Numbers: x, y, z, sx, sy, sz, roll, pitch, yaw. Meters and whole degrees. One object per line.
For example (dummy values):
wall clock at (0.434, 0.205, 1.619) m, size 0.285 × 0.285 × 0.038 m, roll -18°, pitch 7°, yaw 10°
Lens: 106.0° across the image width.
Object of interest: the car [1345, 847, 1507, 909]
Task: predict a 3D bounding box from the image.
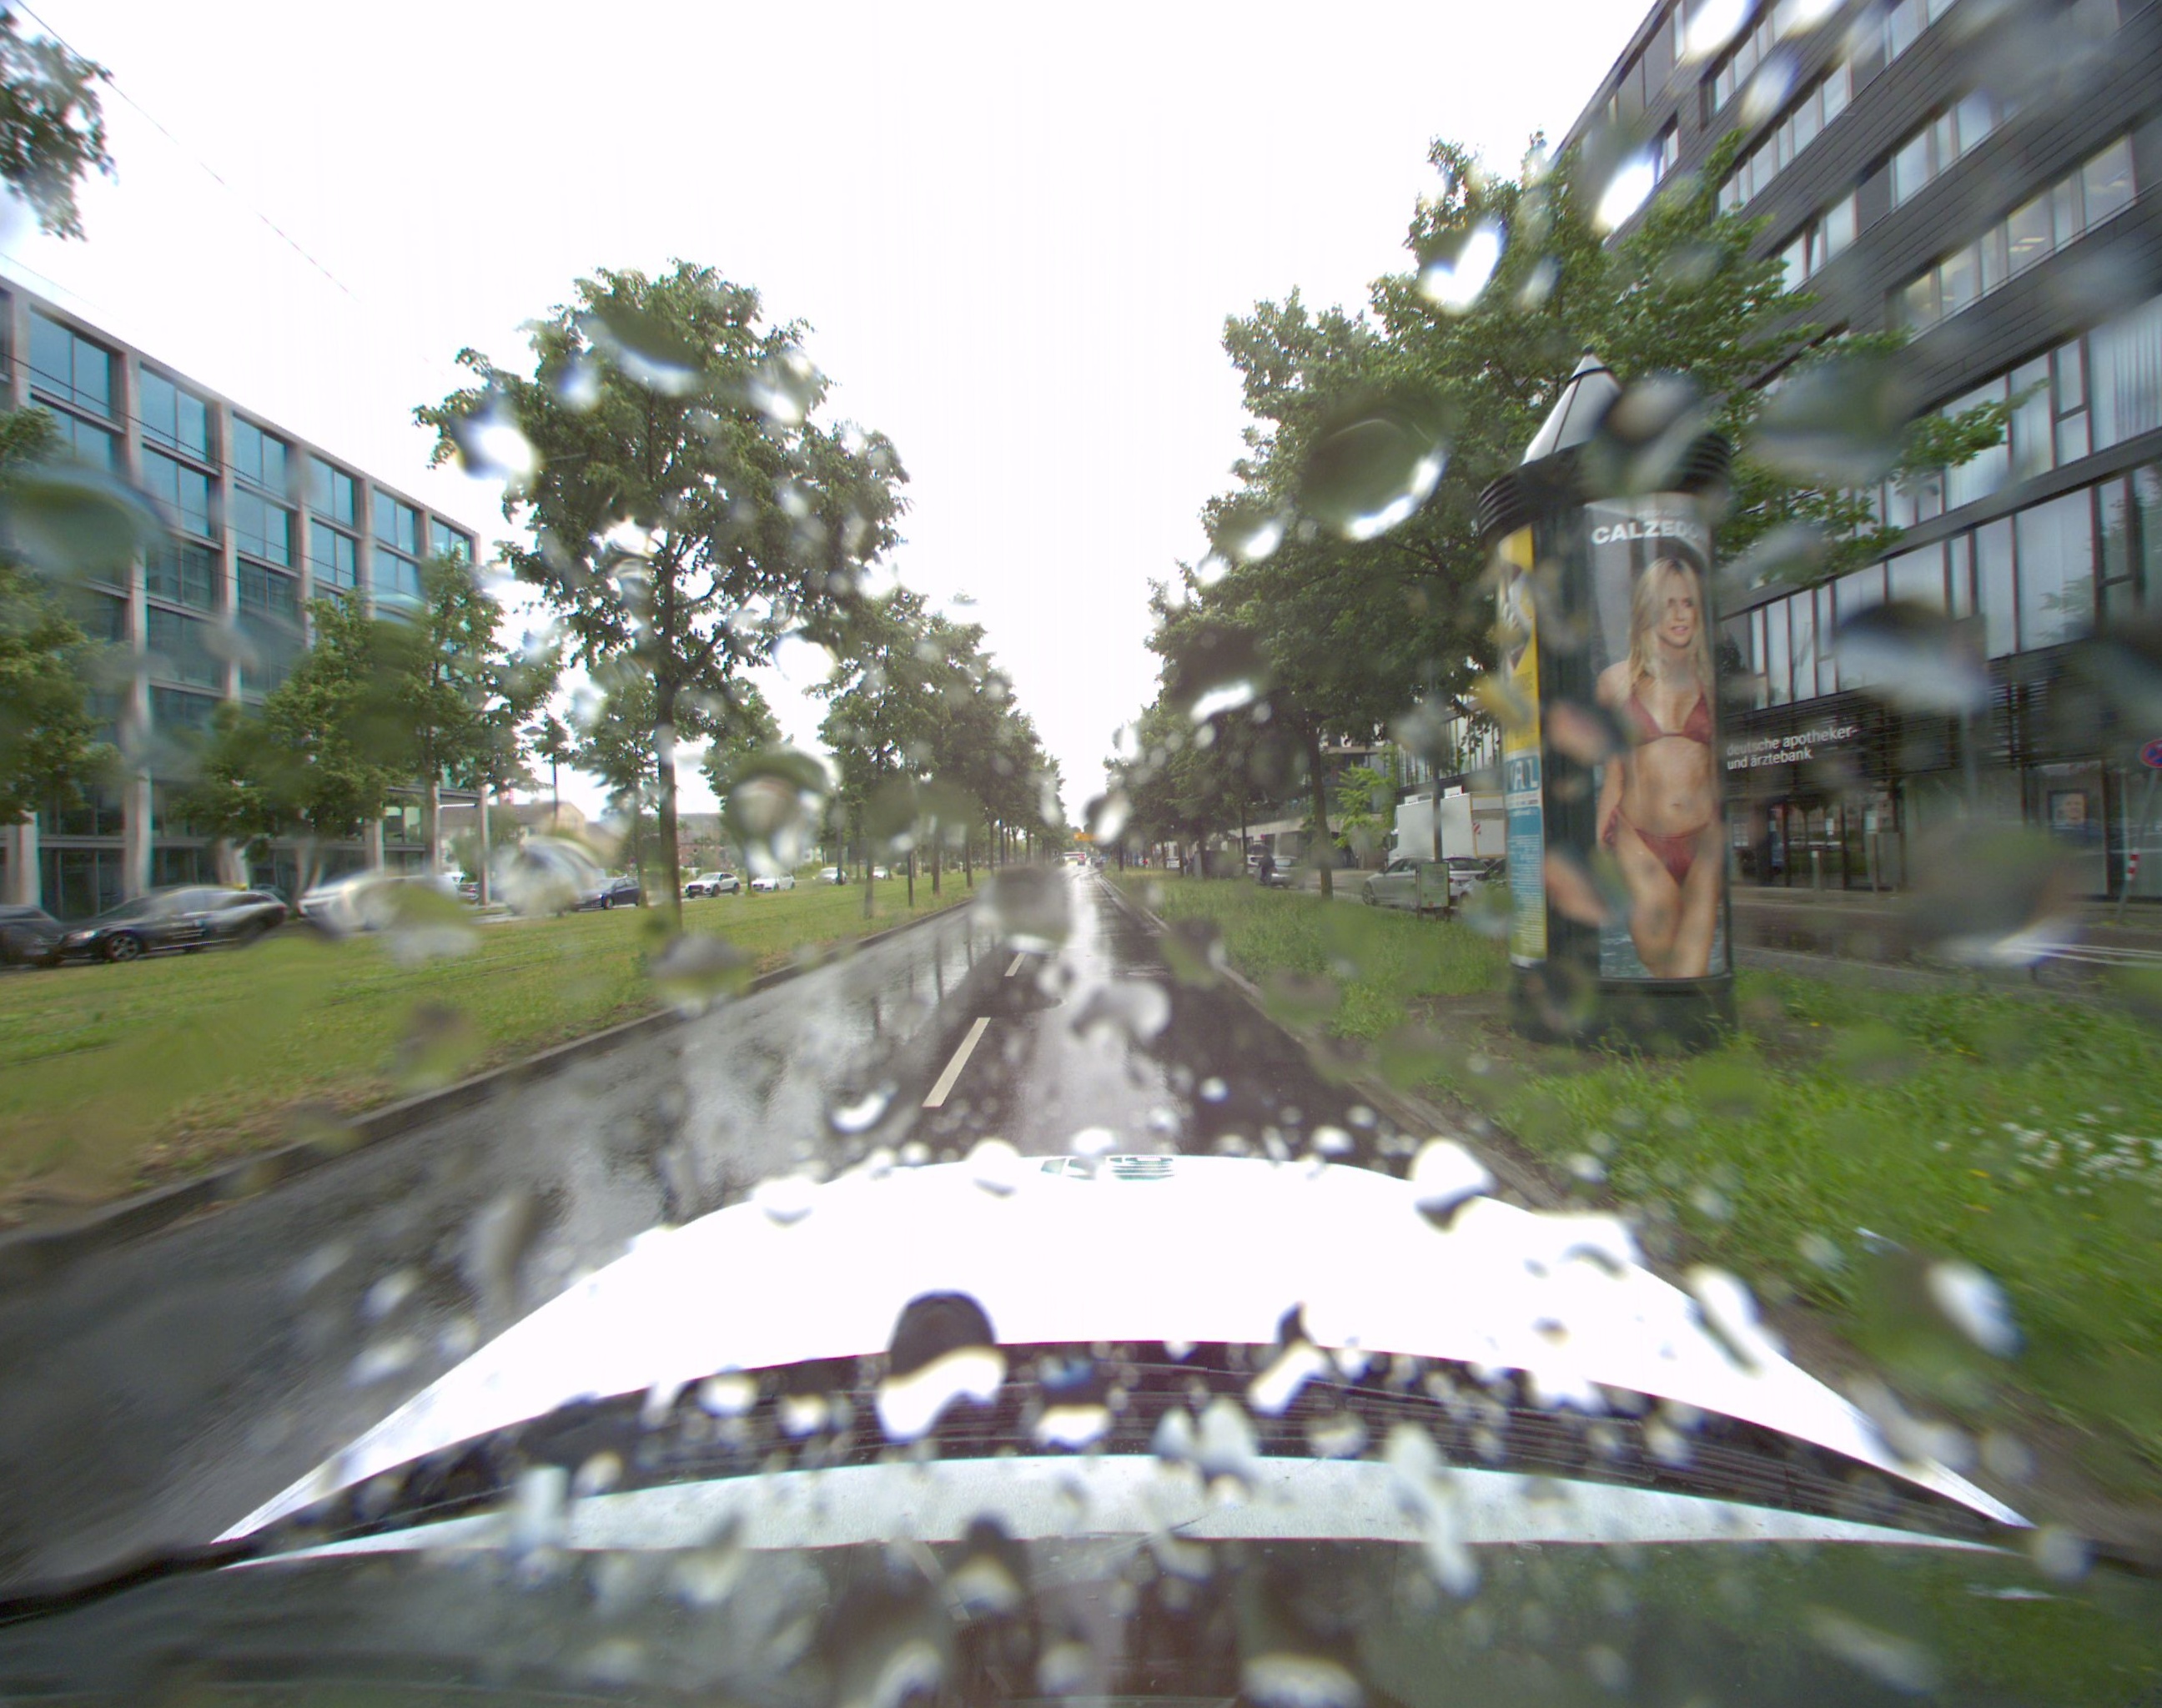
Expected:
car at (9.191, 0.590, 22.302) m, size 1.989 × 1.444 × 5.231 m, roll -2°, pitch 0°, yaw -3°

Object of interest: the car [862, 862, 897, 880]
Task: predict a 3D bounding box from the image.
car at (-19.651, 1.648, 79.608) m, size 1.942 × 1.460 × 4.836 m, roll -2°, pitch 2°, yaw 3°

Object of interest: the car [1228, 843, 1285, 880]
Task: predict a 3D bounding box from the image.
car at (9.182, 0.345, 43.062) m, size 1.987 × 1.669 × 4.724 m, roll -2°, pitch 2°, yaw 0°

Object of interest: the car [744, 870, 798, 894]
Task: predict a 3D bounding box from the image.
car at (-21.252, 1.891, 56.086) m, size 1.945 × 1.513 × 4.575 m, roll -2°, pitch 0°, yaw 0°

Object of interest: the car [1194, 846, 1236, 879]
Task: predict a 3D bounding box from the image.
car at (9.191, 0.539, 56.237) m, size 1.987 × 1.952 × 5.029 m, roll -2°, pitch 2°, yaw 0°

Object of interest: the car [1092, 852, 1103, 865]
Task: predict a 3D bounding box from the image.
car at (2.888, 0.809, 142.313) m, size 1.934 × 2.013 × 4.001 m, roll -2°, pitch 2°, yaw 0°

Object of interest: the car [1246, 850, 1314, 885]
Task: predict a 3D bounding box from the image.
car at (8.976, 0.572, 37.160) m, size 1.765 × 1.452 × 4.719 m, roll -1°, pitch 0°, yaw -3°

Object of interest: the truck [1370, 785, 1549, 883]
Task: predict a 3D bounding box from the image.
truck at (15.166, -0.706, 33.653) m, size 3.017 × 3.441 × 8.538 m, roll -2°, pitch 0°, yaw -3°

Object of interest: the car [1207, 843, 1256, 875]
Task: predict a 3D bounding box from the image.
car at (8.997, 0.230, 49.150) m, size 1.987 × 1.669 × 4.959 m, roll -2°, pitch 2°, yaw 0°

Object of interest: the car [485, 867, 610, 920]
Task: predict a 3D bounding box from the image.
car at (-25.293, 1.821, 38.911) m, size 2.260 × 2.006 × 5.375 m, roll -2°, pitch 2°, yaw 1°

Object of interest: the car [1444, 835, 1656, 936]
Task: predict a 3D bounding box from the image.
car at (8.830, 0.485, 15.779) m, size 1.755 × 1.596 × 4.100 m, roll -2°, pitch 2°, yaw 0°

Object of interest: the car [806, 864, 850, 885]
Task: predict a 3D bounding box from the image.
car at (-19.479, 1.584, 62.922) m, size 1.945 × 1.452 × 4.575 m, roll -2°, pitch 0°, yaw 0°

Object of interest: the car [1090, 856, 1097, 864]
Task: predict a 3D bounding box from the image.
car at (3.680, 1.778, 247.292) m, size 1.986 × 2.013 × 4.003 m, roll -2°, pitch 2°, yaw 2°

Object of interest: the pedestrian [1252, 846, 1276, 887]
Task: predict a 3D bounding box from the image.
pedestrian at (6.827, 0.463, 30.365) m, size 0.696 × 1.493 × 0.643 m, roll -2°, pitch 0°, yaw -3°

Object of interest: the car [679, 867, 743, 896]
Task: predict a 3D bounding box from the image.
car at (-24.317, 1.774, 53.720) m, size 1.943 × 1.749 × 4.579 m, roll -2°, pitch 0°, yaw 3°

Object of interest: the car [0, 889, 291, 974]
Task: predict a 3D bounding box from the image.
car at (-22.158, 1.737, 19.499) m, size 1.945 × 1.385 × 4.603 m, roll -2°, pitch 2°, yaw -1°

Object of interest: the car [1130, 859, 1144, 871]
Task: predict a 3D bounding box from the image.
car at (8.658, 1.730, 126.657) m, size 1.875 × 1.505 × 4.724 m, roll -2°, pitch 2°, yaw 0°

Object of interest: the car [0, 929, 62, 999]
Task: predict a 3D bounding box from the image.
car at (-25.438, 2.646, 17.258) m, size 1.854 × 1.446 × 4.622 m, roll -2°, pitch 2°, yaw -2°

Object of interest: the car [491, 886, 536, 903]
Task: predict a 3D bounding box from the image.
car at (-46.745, 3.337, 67.135) m, size 1.181 × 1.067 × 3.224 m, roll -2°, pitch 2°, yaw 4°

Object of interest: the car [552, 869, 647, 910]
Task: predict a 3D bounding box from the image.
car at (-22.064, 1.581, 37.515) m, size 1.944 × 1.494 × 3.963 m, roll -2°, pitch 2°, yaw 0°

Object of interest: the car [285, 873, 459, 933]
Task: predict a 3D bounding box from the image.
car at (-25.470, 1.689, 29.579) m, size 1.946 × 1.651 × 5.026 m, roll -2°, pitch 2°, yaw -2°

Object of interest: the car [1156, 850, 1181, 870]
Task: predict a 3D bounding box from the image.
car at (8.654, 0.594, 80.672) m, size 1.987 × 1.669 × 4.724 m, roll -2°, pitch 2°, yaw 0°

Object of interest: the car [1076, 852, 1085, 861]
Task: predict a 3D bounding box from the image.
car at (-0.205, 0.624, 200.240) m, size 1.986 × 2.013 × 4.003 m, roll -2°, pitch 2°, yaw 2°

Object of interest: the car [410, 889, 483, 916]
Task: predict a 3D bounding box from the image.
car at (-45.438, 3.469, 58.366) m, size 3.772 × 1.608 × 1.746 m, roll -2°, pitch 2°, yaw 3°
